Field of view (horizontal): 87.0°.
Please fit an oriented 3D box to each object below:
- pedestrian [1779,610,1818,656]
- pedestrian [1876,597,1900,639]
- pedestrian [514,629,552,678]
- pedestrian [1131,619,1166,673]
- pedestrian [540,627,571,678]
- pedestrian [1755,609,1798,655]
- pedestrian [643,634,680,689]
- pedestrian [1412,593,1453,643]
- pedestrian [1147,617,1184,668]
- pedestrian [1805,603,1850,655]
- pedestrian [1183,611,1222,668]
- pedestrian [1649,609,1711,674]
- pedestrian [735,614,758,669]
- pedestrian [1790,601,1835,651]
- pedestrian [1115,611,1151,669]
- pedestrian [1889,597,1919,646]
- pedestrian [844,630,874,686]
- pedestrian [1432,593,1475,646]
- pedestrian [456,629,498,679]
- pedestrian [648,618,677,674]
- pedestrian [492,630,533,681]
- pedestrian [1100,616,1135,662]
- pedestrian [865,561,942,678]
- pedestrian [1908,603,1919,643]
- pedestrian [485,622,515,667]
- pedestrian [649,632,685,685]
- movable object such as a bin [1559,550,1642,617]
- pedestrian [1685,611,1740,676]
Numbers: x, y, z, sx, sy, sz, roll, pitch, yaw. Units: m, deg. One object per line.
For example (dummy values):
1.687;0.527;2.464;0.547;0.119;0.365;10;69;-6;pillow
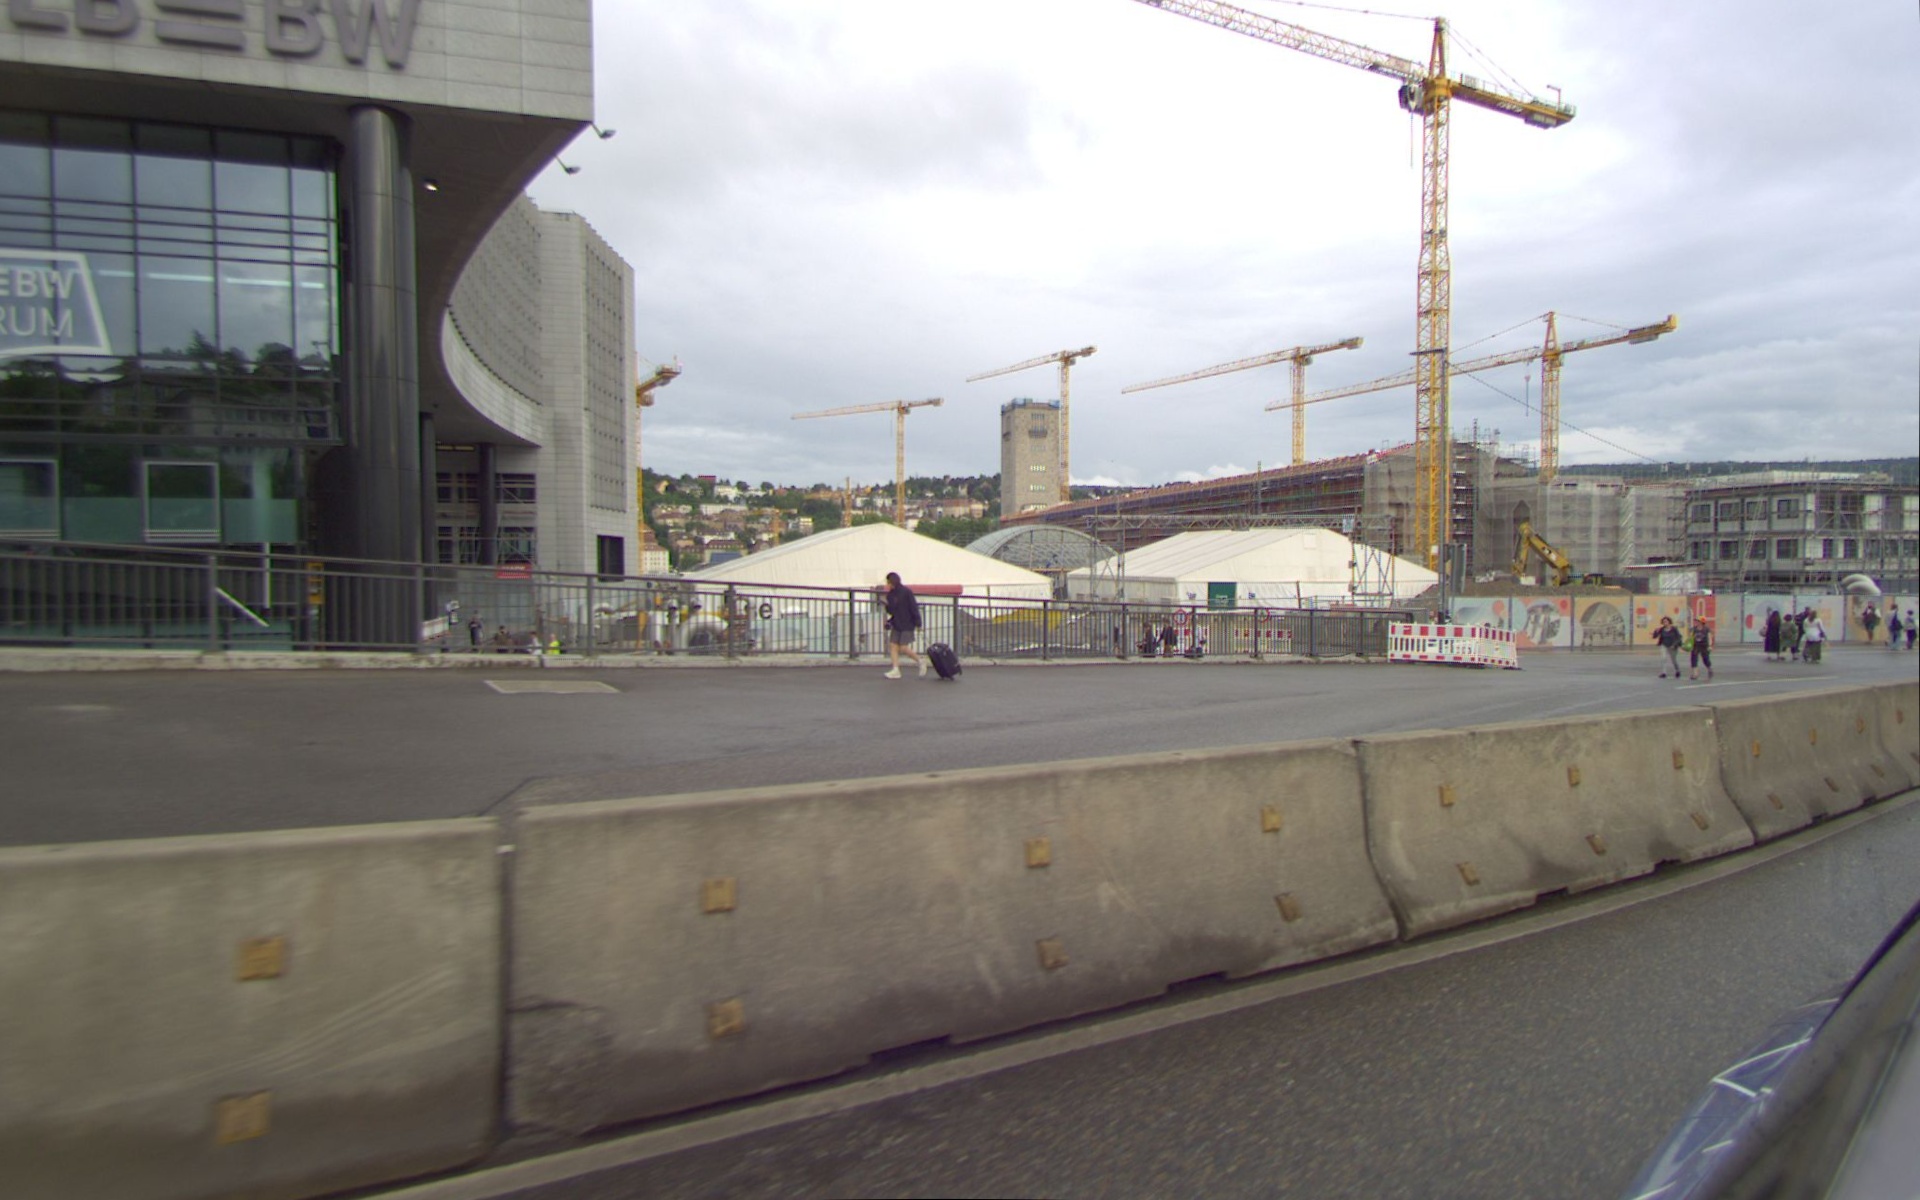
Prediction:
29.104;1.146;35.124;0.867;1.541;0.612;0;1;-16;pedestrian
39.440;0.758;43.011;0.484;1.770;0.570;0;1;-17;pedestrian
-15.045;1.864;35.652;0.989;1.657;0.869;0;1;-1;pedestrian
5.992;1.456;32.153;0.897;1.657;0.701;0;1;-6;pedestrian
-13.611;1.752;34.065;0.646;1.657;0.735;1;1;24;pedestrian
28.851;1.117;35.753;0.987;1.572;0.718;0;1;-16;pedestrian
-9.456;1.939;32.055;0.988;1.657;0.870;0;1;-6;pedestrian
16.595;0.632;35.562;0.988;1.710;0.870;0;1;-6;pedestrian
6.882;1.411;33.945;0.988;1.657;0.870;0;1;-6;pedestrian
29.591;0.980;34.540;0.872;1.744;0.782;0;1;-16;pedestrian
7.911;1.275;33.067;0.988;1.803;0.870;0;1;-6;pedestrian
18.449;1.048;25.955;0.933;1.613;0.864;0;1;-7;pedestrian
-6.499;1.259;30.795;0.555;1.636;0.707;0;1;-2;pedestrian
32.167;0.955;38.193;0.987;1.840;0.871;0;1;-16;pedestrian
5.632;1.294;32.990;0.988;1.805;0.774;0;1;-6;pedestrian
37.299;0.841;39.704;0.914;1.872;0.820;1;1;1;pedestrian
-3.114;1.777;31.205;0.741;1.657;0.585;1;1;14;pedestrian
16.810;0.654;34.476;0.988;1.747;0.870;0;1;-6;pedestrian
-16.832;1.860;35.264;0.993;1.657;0.865;1;1;14;pedestrian
-10.111;1.562;34.384;0.634;1.838;0.750;1;1;24;pedestrian
-15.291;1.894;34.586;0.992;1.657;0.867;1;1;9;pedestrian
5.564;1.369;35.751;0.988;1.572;0.870;0;1;-6;pedestrian
-0.846;0.276;14.925;1.039;1.672;0.733;1;1;-7;pedestrian
38.976;0.931;40.867;0.751;1.572;0.649;1;1;1;pedestrian
-17.910;1.725;39.384;0.853;1.657;1.008;0;2;-38;pedestrian
-9.544;1.900;32.968;0.988;1.657;0.870;0;1;-6;pedestrian
34.312;-0.901;54.197;4.144;3.451;1.946;0;1;-28;movable object such as a bin
18.721;1.074;25.185;0.788;1.595;0.735;0;0;-7;pedestrian
